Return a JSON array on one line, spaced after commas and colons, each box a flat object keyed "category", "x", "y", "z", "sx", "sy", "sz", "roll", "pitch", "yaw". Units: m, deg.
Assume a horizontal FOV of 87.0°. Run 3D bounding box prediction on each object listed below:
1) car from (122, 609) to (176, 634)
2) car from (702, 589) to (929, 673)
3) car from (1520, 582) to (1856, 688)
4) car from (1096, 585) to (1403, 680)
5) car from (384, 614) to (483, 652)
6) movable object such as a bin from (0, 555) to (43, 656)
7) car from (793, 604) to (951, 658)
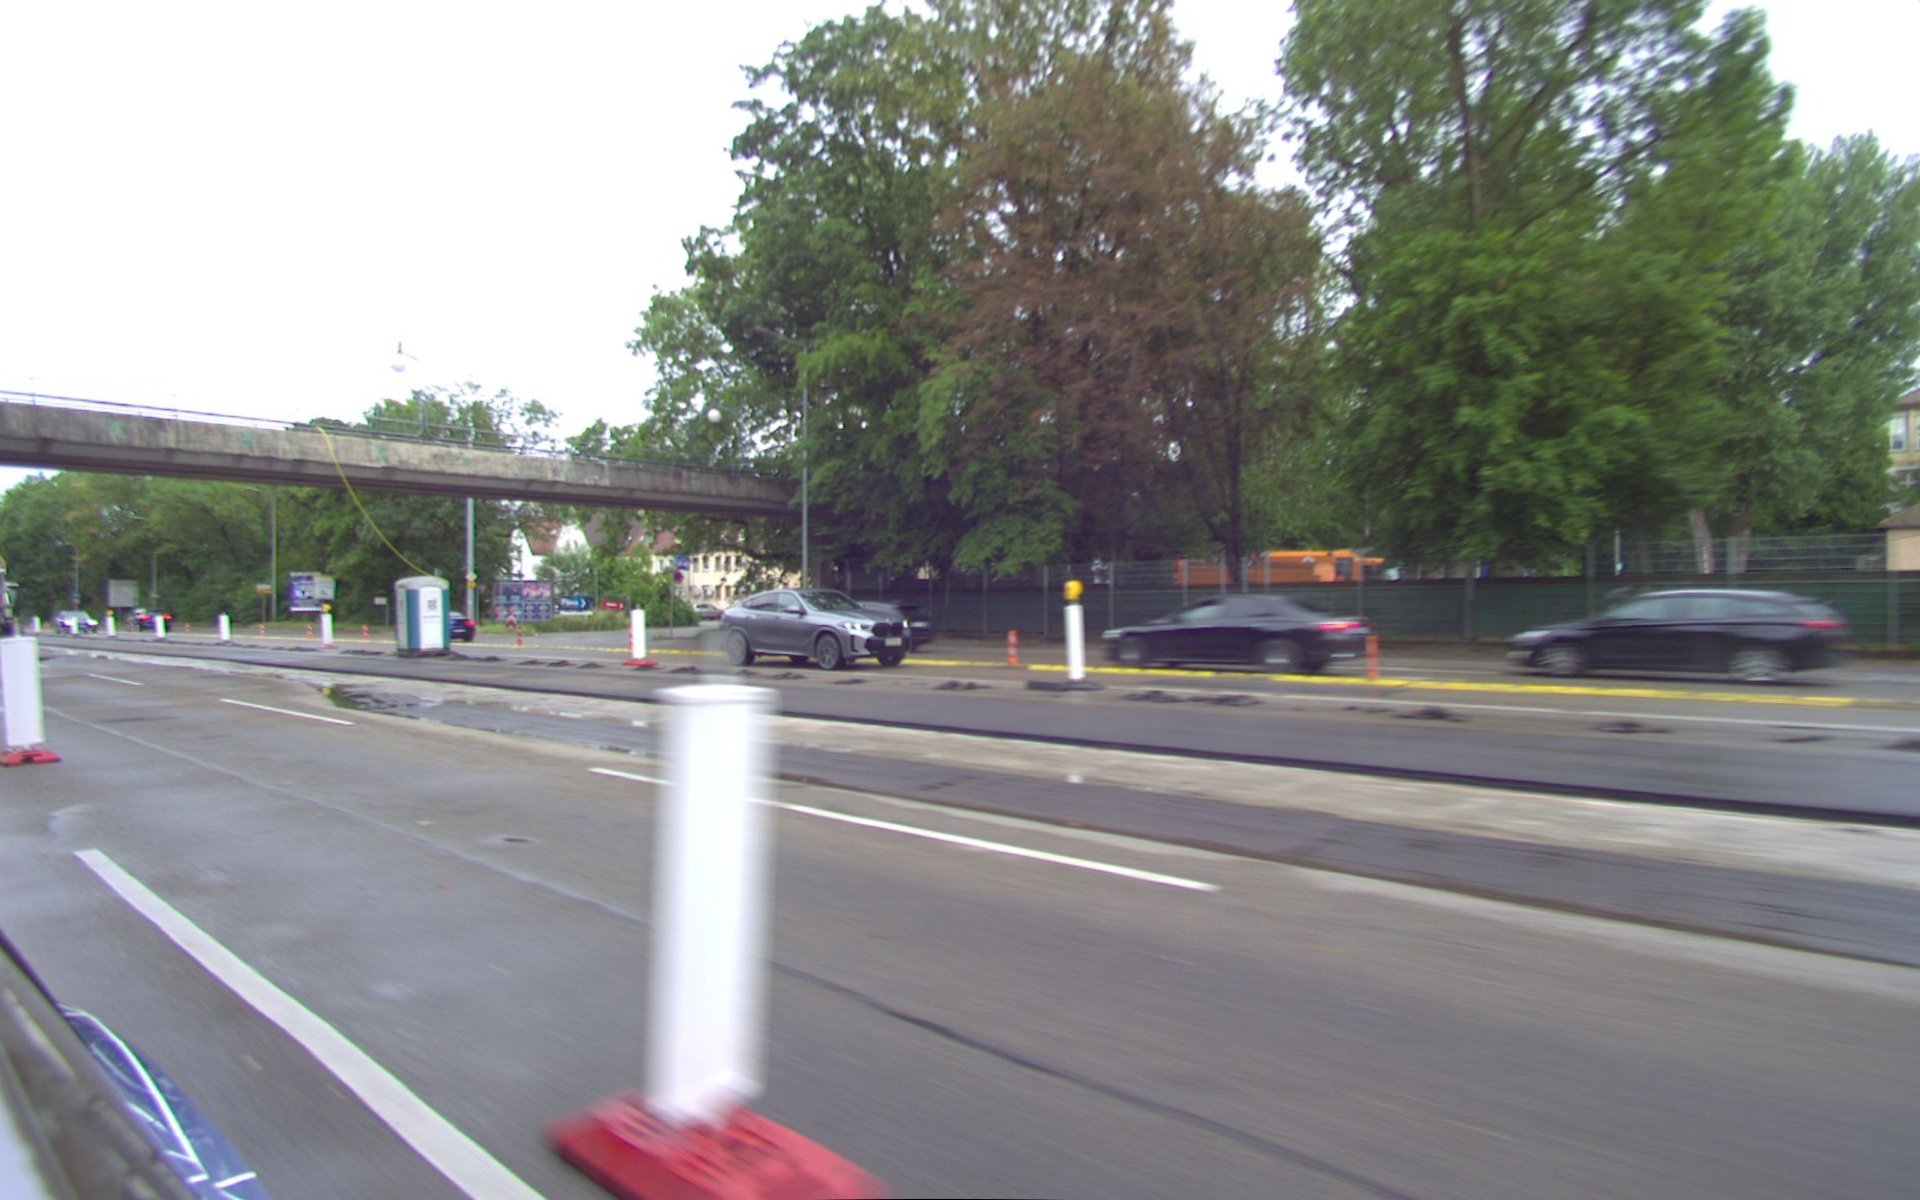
[{"category": "car", "x": -60.001, "y": 1.596, "z": 74.814, "sx": 5.053, "sy": 1.752, "sz": 2.193, "roll": -1, "pitch": 0, "yaw": 40}, {"category": "car", "x": -3.230, "y": 0.610, "z": 21.946, "sx": 5.053, "sy": 1.625, "sz": 2.055, "roll": -1, "pitch": 0, "yaw": 40}, {"category": "car", "x": 11.870, "y": 0.504, "z": 16.702, "sx": 4.302, "sy": 1.529, "sz": 1.973, "roll": -1, "pitch": 0, "yaw": 41}, {"category": "car", "x": 5.229, "y": 0.560, "z": 18.762, "sx": 5.087, "sy": 1.524, "sz": 2.056, "roll": -2, "pitch": 0, "yaw": 41}, {"category": "car", "x": -22.210, "y": 1.357, "z": 42.600, "sx": 4.880, "sy": 1.470, "sz": 1.973, "roll": -1, "pitch": 0, "yaw": 40}, {"category": "movable object such as a bin", "x": -47.266, "y": 0.278, "z": 48.671, "sx": 10.065, "sy": 4.555, "sz": 3.481, "roll": -1, "pitch": 0, "yaw": 41}, {"category": "car", "x": -2.578, "y": 0.818, "z": 28.911, "sx": 4.566, "sy": 1.358, "sz": 1.972, "roll": 0, "pitch": 1, "yaw": 43}]
